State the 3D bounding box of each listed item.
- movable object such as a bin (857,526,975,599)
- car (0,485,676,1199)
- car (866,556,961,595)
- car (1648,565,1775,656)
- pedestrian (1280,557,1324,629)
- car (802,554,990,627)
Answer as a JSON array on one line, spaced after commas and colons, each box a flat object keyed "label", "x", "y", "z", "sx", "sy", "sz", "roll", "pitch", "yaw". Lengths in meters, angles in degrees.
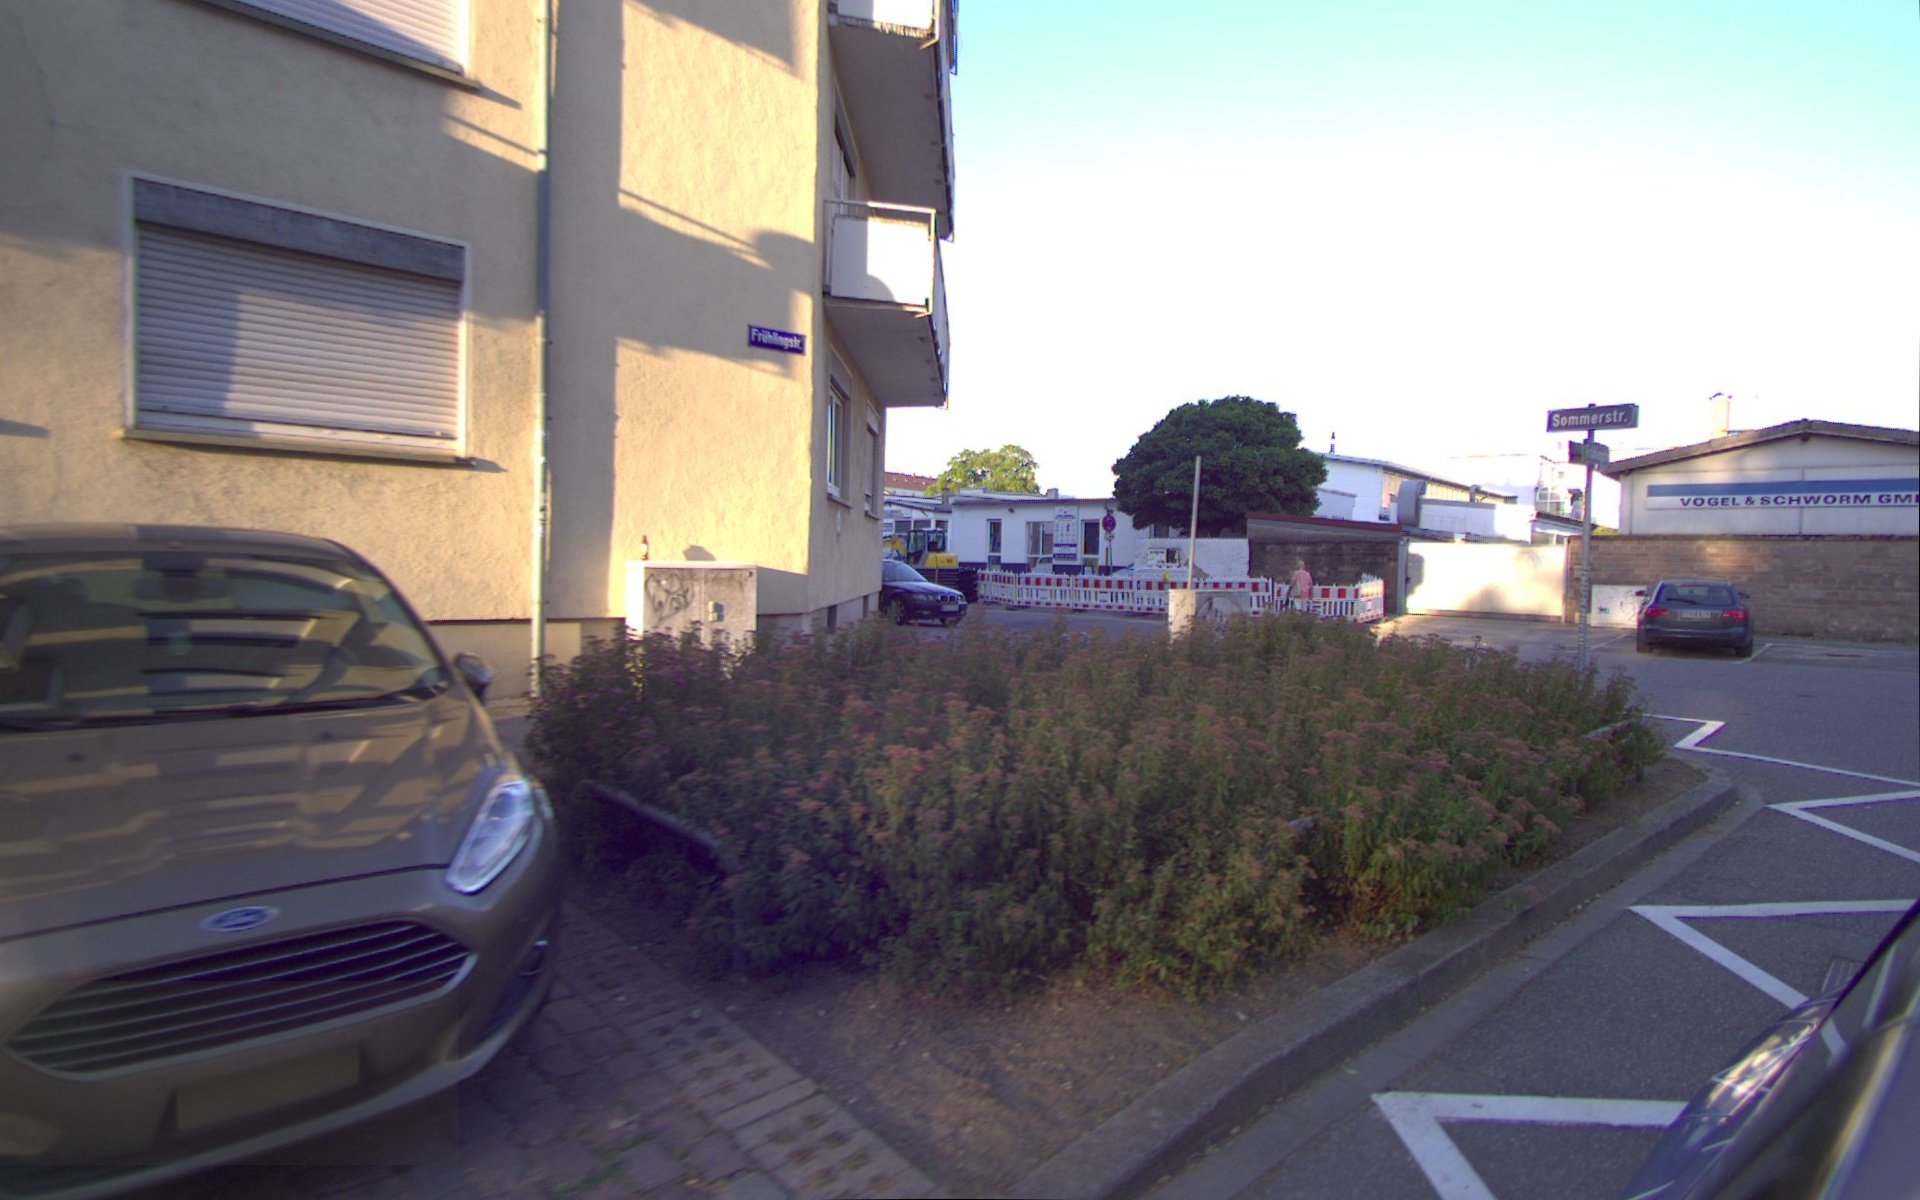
[{"label": "movable object such as a bin", "x": -1.863, "y": -1.483, "z": 40.402, "sx": 2.620, "sy": 2.693, "sz": 5.209, "roll": 1, "pitch": 2, "yaw": -29}, {"label": "car", "x": -2.626, "y": 0.479, "z": 3.457, "sx": 1.711, "sy": 1.510, "sz": 3.880, "roll": 0, "pitch": 2, "yaw": -41}, {"label": "car", "x": -2.117, "y": -1.125, "z": 46.465, "sx": 3.920, "sy": 1.725, "sz": 1.851, "roll": 0, "pitch": 2, "yaw": -30}, {"label": "car", "x": 15.127, "y": 0.112, "z": 20.557, "sx": 1.821, "sy": 1.549, "sz": 4.671, "roll": 3, "pitch": 4, "yaw": 35}, {"label": "pedestrian", "x": 8.295, "y": -0.163, "z": 24.568, "sx": 0.772, "sy": 1.686, "sz": 0.629, "roll": 3, "pitch": 0, "yaw": 3}, {"label": "car", "x": -1.472, "y": -0.229, "z": 22.249, "sx": 1.967, "sy": 1.389, "sz": 3.990, "roll": 3, "pitch": 0, "yaw": -45}]
